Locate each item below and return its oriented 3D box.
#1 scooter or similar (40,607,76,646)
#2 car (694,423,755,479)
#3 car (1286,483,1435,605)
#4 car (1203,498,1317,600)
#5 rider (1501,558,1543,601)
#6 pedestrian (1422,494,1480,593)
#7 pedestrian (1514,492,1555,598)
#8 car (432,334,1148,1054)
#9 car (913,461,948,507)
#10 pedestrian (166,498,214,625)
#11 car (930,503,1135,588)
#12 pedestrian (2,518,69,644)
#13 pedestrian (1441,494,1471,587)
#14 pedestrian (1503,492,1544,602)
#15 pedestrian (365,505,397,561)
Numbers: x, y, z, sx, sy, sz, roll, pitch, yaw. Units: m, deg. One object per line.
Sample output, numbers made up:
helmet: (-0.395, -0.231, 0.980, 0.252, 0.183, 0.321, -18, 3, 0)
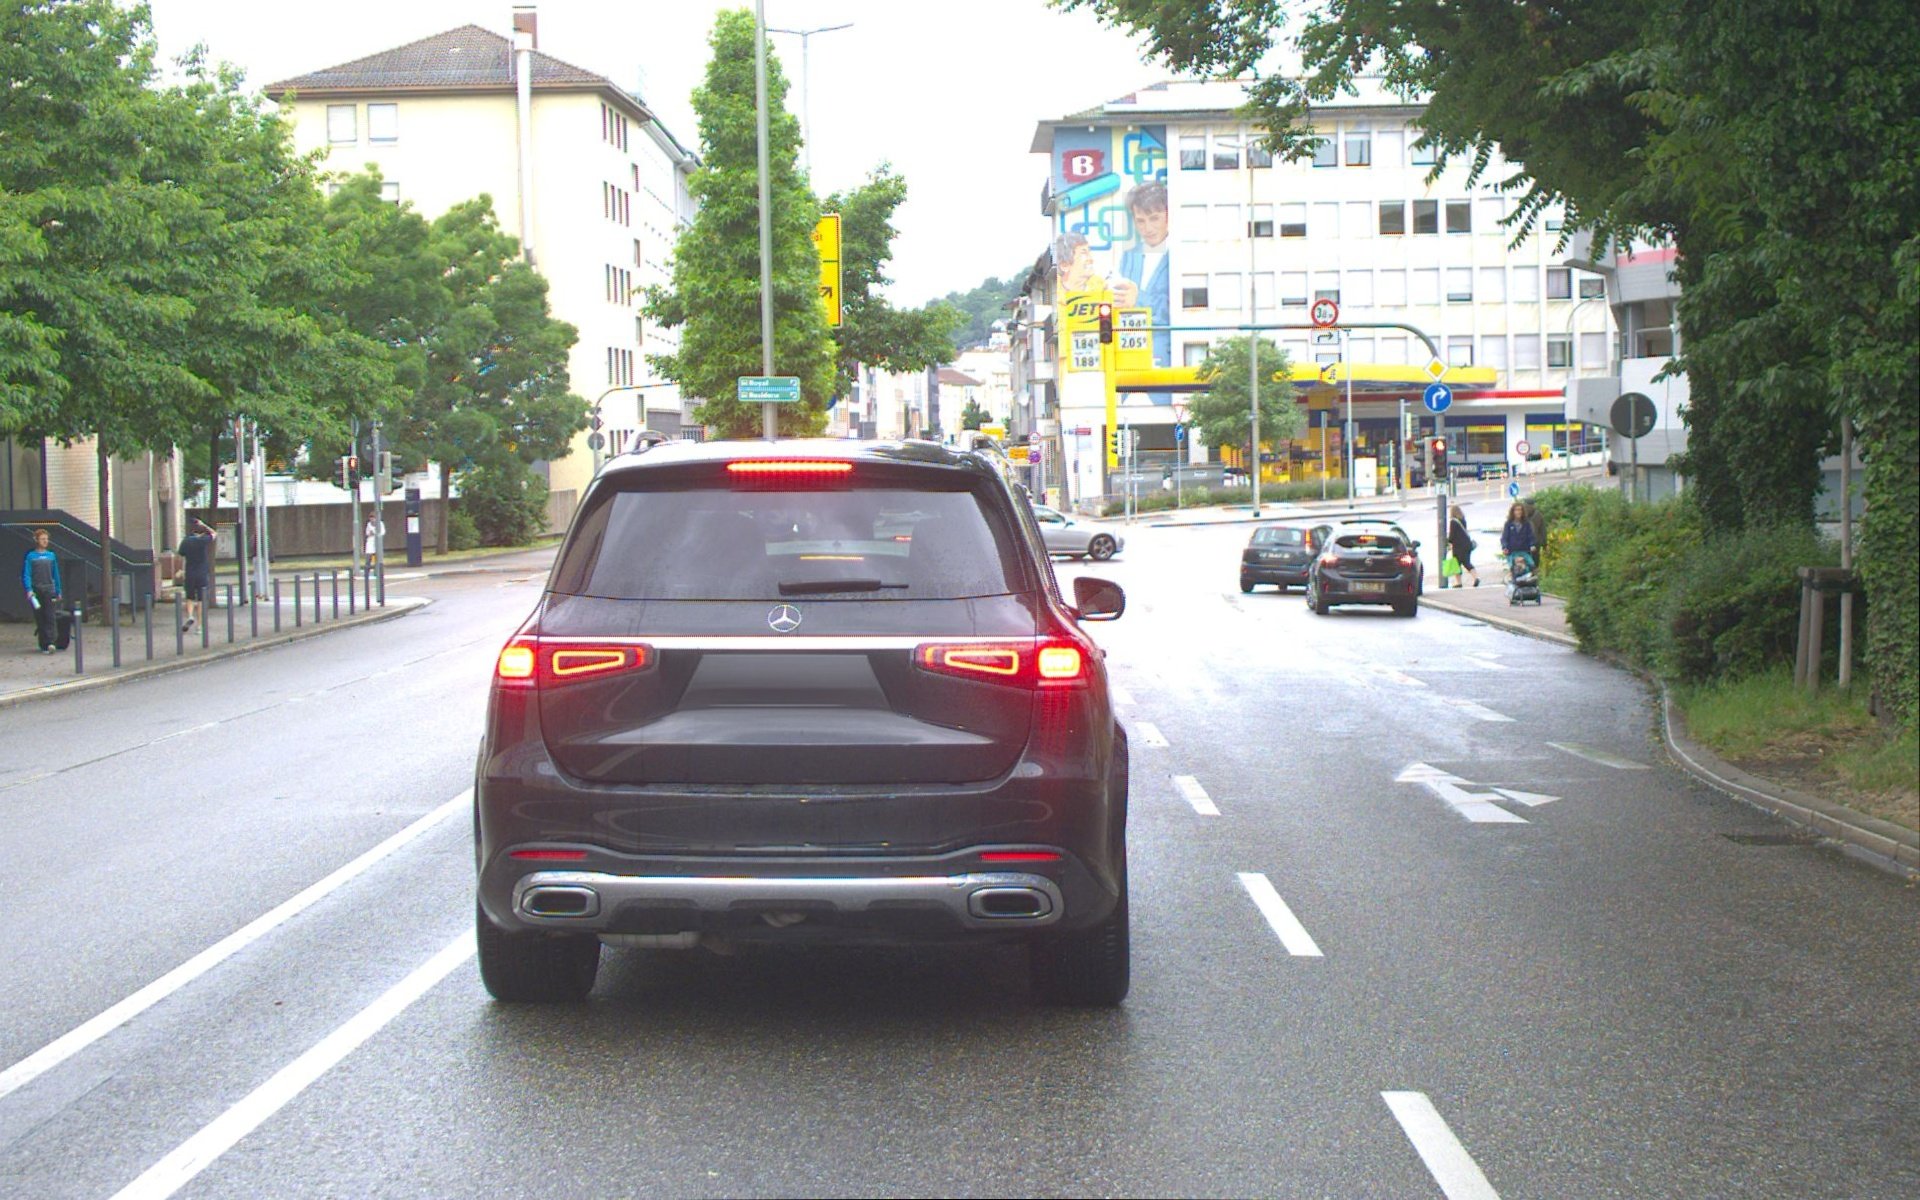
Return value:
scooter or similar: (-12.505, 0.367, 47.653, 0.360, 0.534, 0.499, 1, 0, 0)
car: (-8.667, -5.482, 126.841, 1.993, 1.868, 5.142, 1, 1, -1)
car: (6.800, -0.978, 58.742, 1.993, 2.006, 4.001, 0, 2, -1)
car: (6.109, -1.032, 70.406, 1.993, 2.007, 4.000, 1, 1, 1)
rider: (9.739, -0.360, 59.559, 0.694, 0.737, 0.632, 1, 0, 8)
pedestrian: (10.148, -1.170, 71.086, 1.025, 2.007, 0.999, 1, 1, -1)
pedestrian: (10.610, -1.011, 63.478, 0.620, 1.929, 0.610, 1, 0, 0)
car: (-0.509, 0.246, 11.721, 1.993, 2.007, 4.000, 1, 1, -1)
car: (-1.762, -6.839, 202.077, 1.993, 2.005, 4.004, 1, 12, -1)
pedestrian: (-12.334, -0.618, 55.060, 0.587, 2.007, 0.749, 1, 0, -1)
car: (1.769, -1.367, 85.069, 4.804, 2.006, 2.001, -1, 2, -7)
pedestrian: (-12.842, -0.252, 47.771, 0.688, 1.720, 0.754, 1, -2, -1)
pedestrian: (10.230, -1.228, 70.946, 0.519, 1.904, 0.556, 1, 0, 1)
pedestrian: (9.880, -0.922, 60.268, 0.662, 1.911, 0.728, 1, 0, 9)
pedestrian: (-15.051, -1.742, 89.390, 0.711, 1.457, 0.598, 1, 0, -1)
